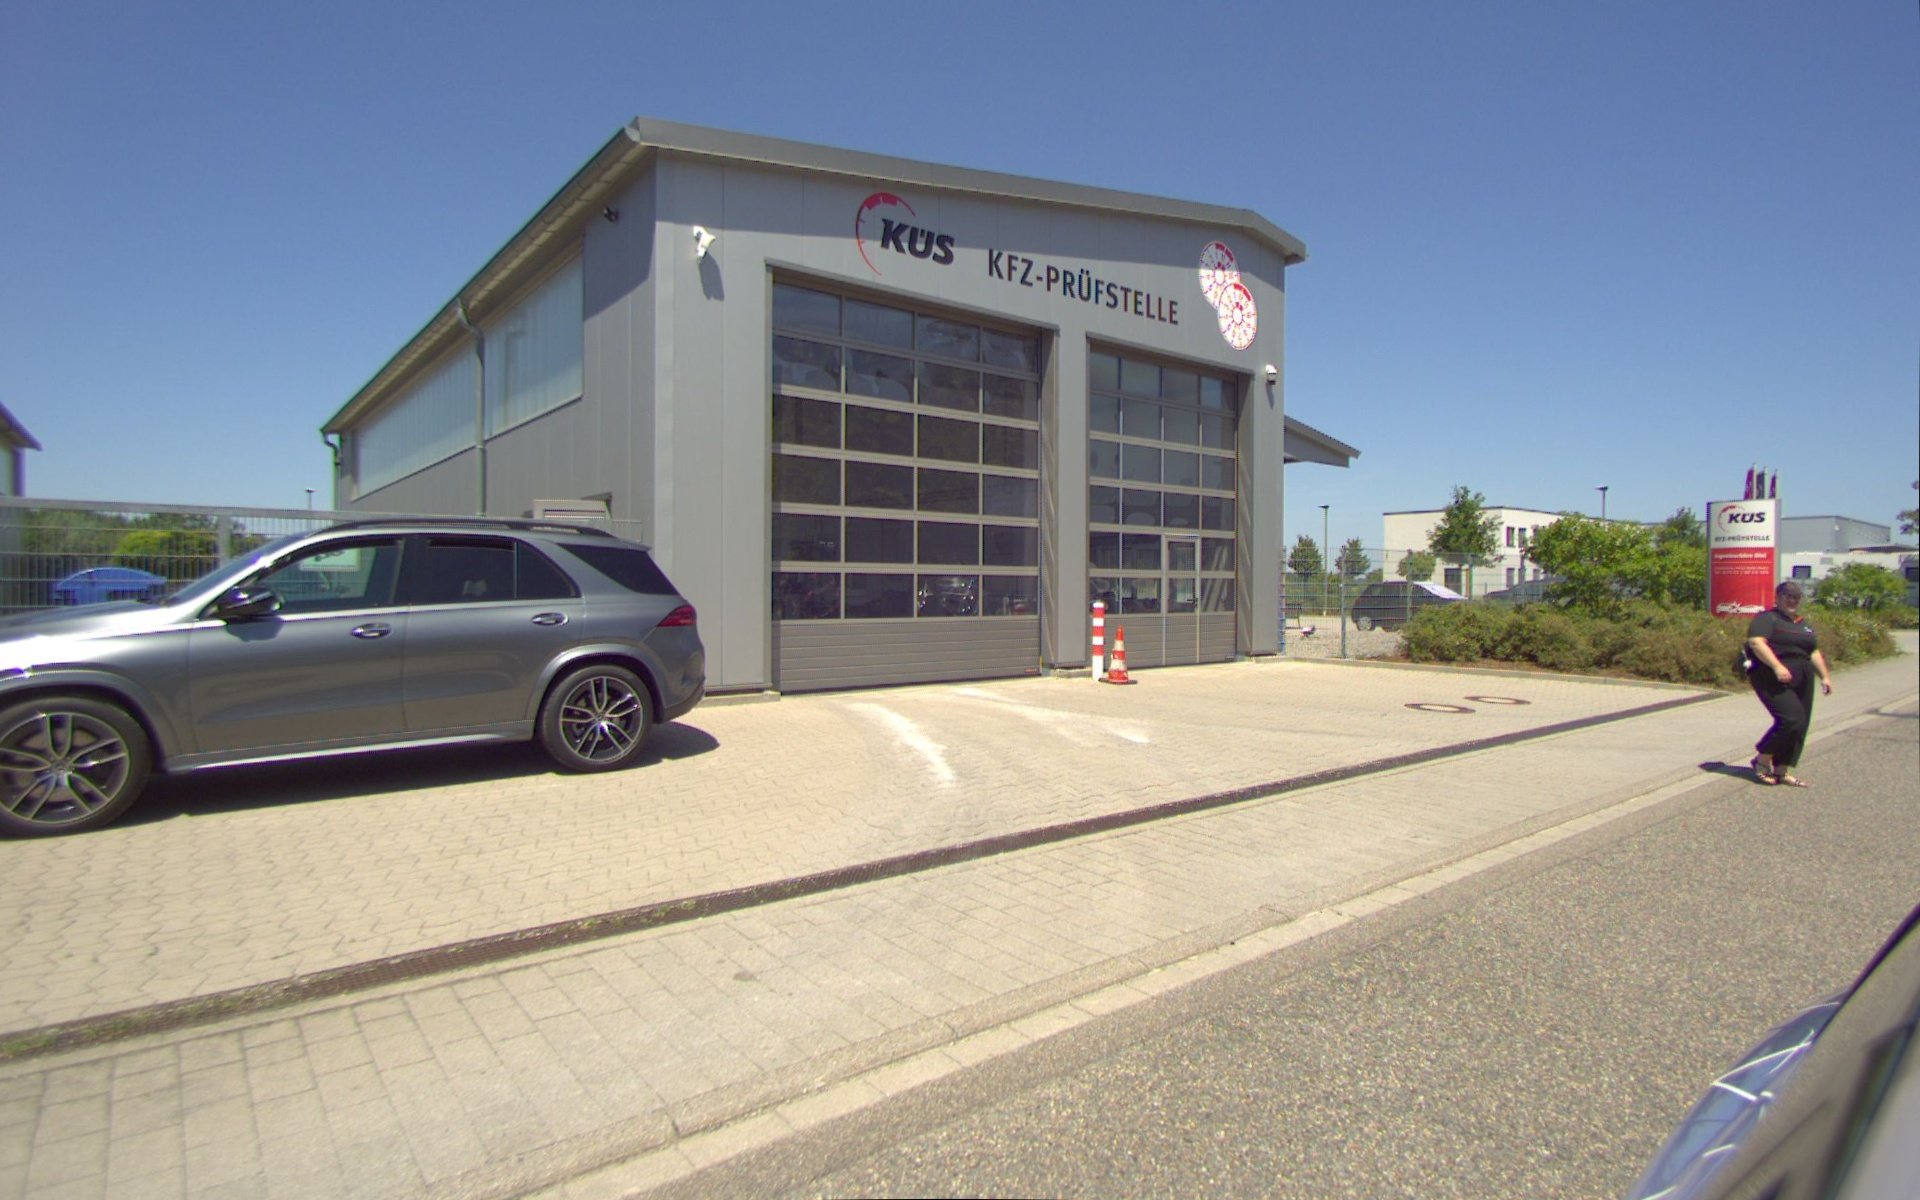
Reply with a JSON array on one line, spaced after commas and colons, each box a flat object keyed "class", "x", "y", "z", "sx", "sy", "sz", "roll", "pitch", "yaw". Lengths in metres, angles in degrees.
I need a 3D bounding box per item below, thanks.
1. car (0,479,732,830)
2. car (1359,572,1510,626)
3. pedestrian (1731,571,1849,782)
[{"class": "car", "x": -4.305, "y": 0.217, "z": 7.149, "sx": 4.823, "sy": 1.832, "sz": 2.159, "roll": -1, "pitch": 3, "yaw": -37}, {"class": "car", "x": 12.999, "y": -0.041, "z": 27.806, "sx": 1.763, "sy": 1.386, "sz": 3.353, "roll": -1, "pitch": 1, "yaw": -43}, {"class": "pedestrian", "x": 6.620, "y": 0.575, "z": 8.078, "sx": 0.668, "sy": 1.587, "sz": 0.534, "roll": 0, "pitch": 2, "yaw": -37}]
